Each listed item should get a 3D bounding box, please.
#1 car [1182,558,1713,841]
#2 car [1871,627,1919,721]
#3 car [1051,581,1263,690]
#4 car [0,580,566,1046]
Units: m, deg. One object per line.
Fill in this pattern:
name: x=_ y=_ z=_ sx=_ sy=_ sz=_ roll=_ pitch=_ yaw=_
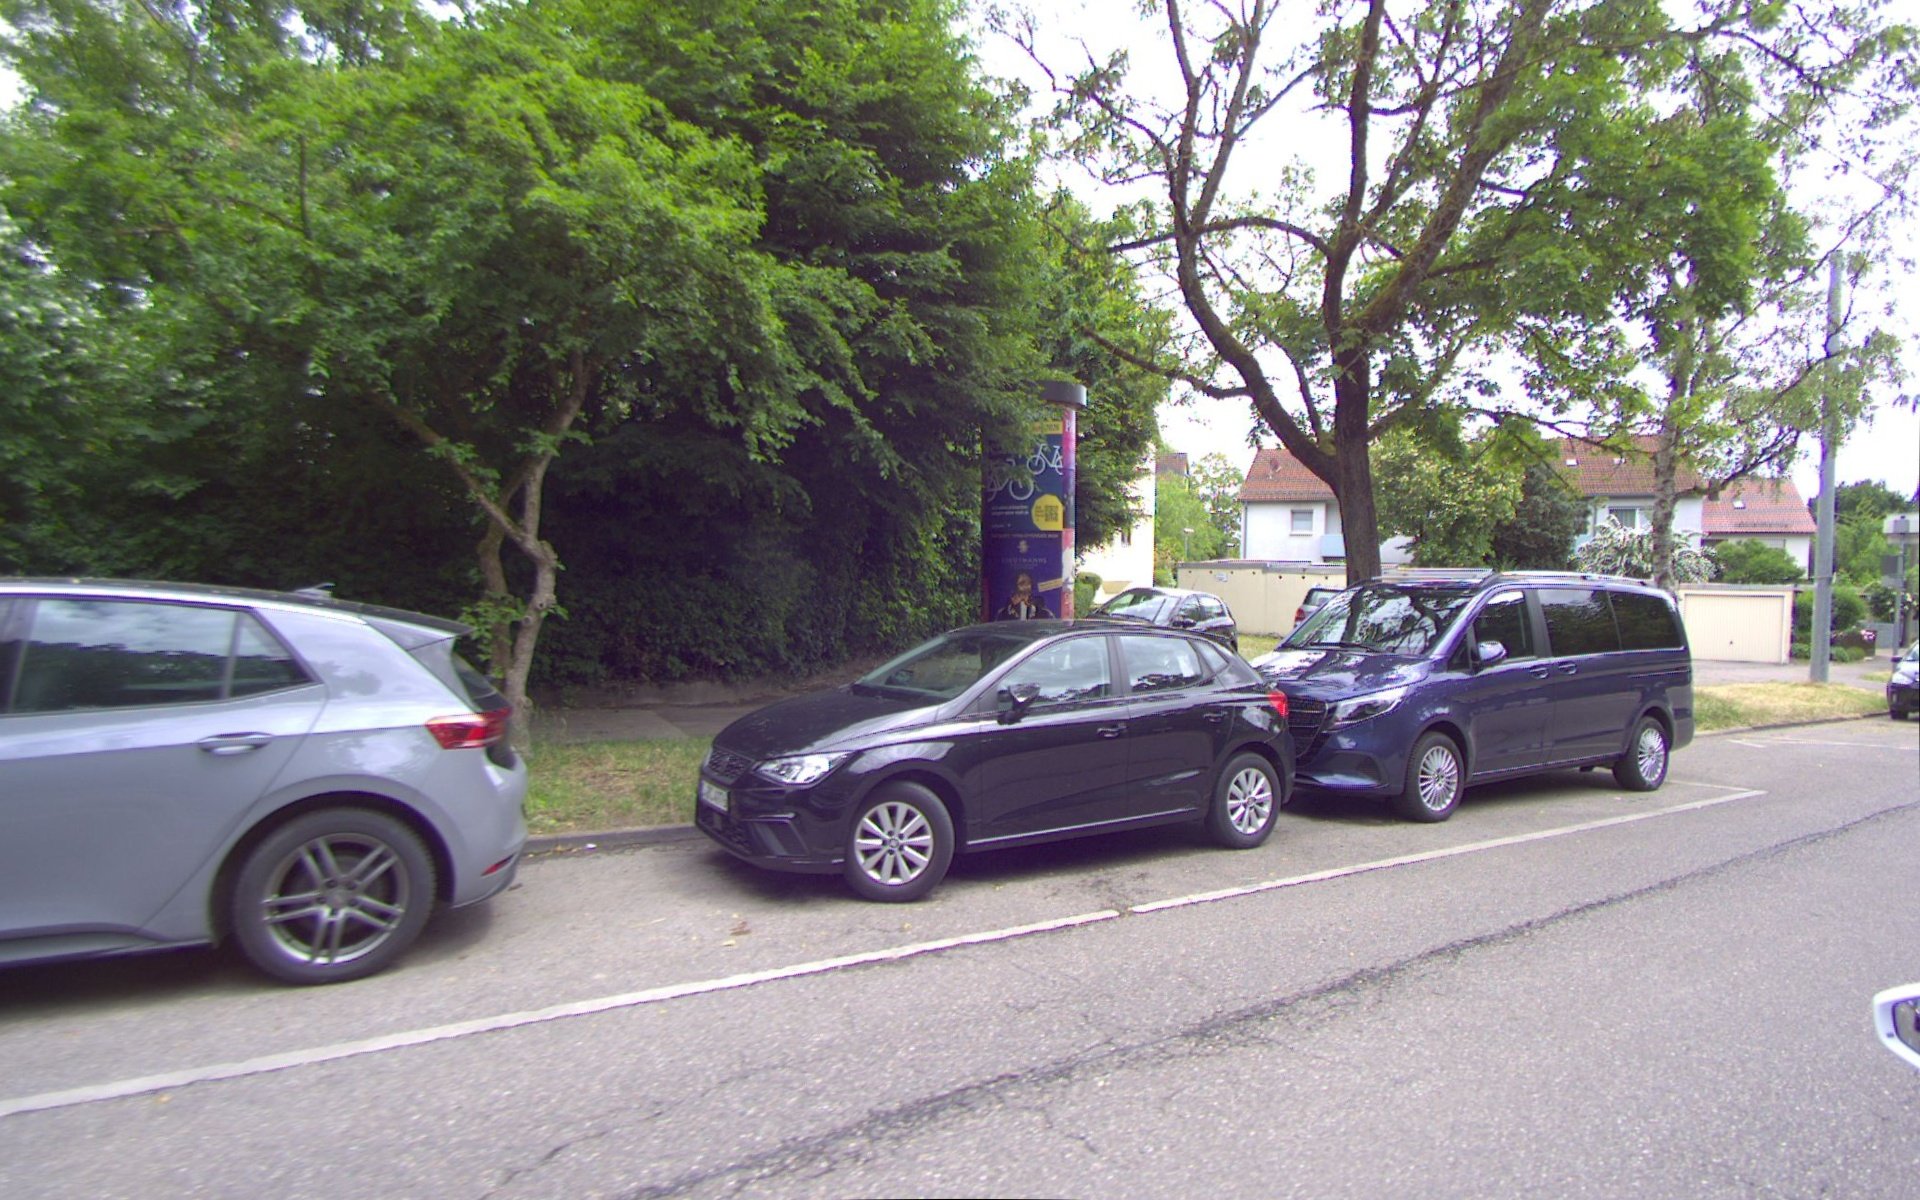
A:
car: x=4.494 y=0.716 z=8.977 sx=5.026 sy=1.934 sz=1.848 roll=1 pitch=0 yaw=-32
car: x=17.975 y=1.275 z=17.868 sx=4.225 sy=1.583 sz=1.793 roll=1 pitch=-2 yaw=-36
car: x=3.432 y=0.531 z=17.004 sx=1.752 sy=1.497 sz=3.972 roll=6 pitch=4 yaw=39
car: x=-3.940 y=0.701 z=4.031 sx=4.176 sy=1.558 sz=1.857 roll=1 pitch=0 yaw=-30
